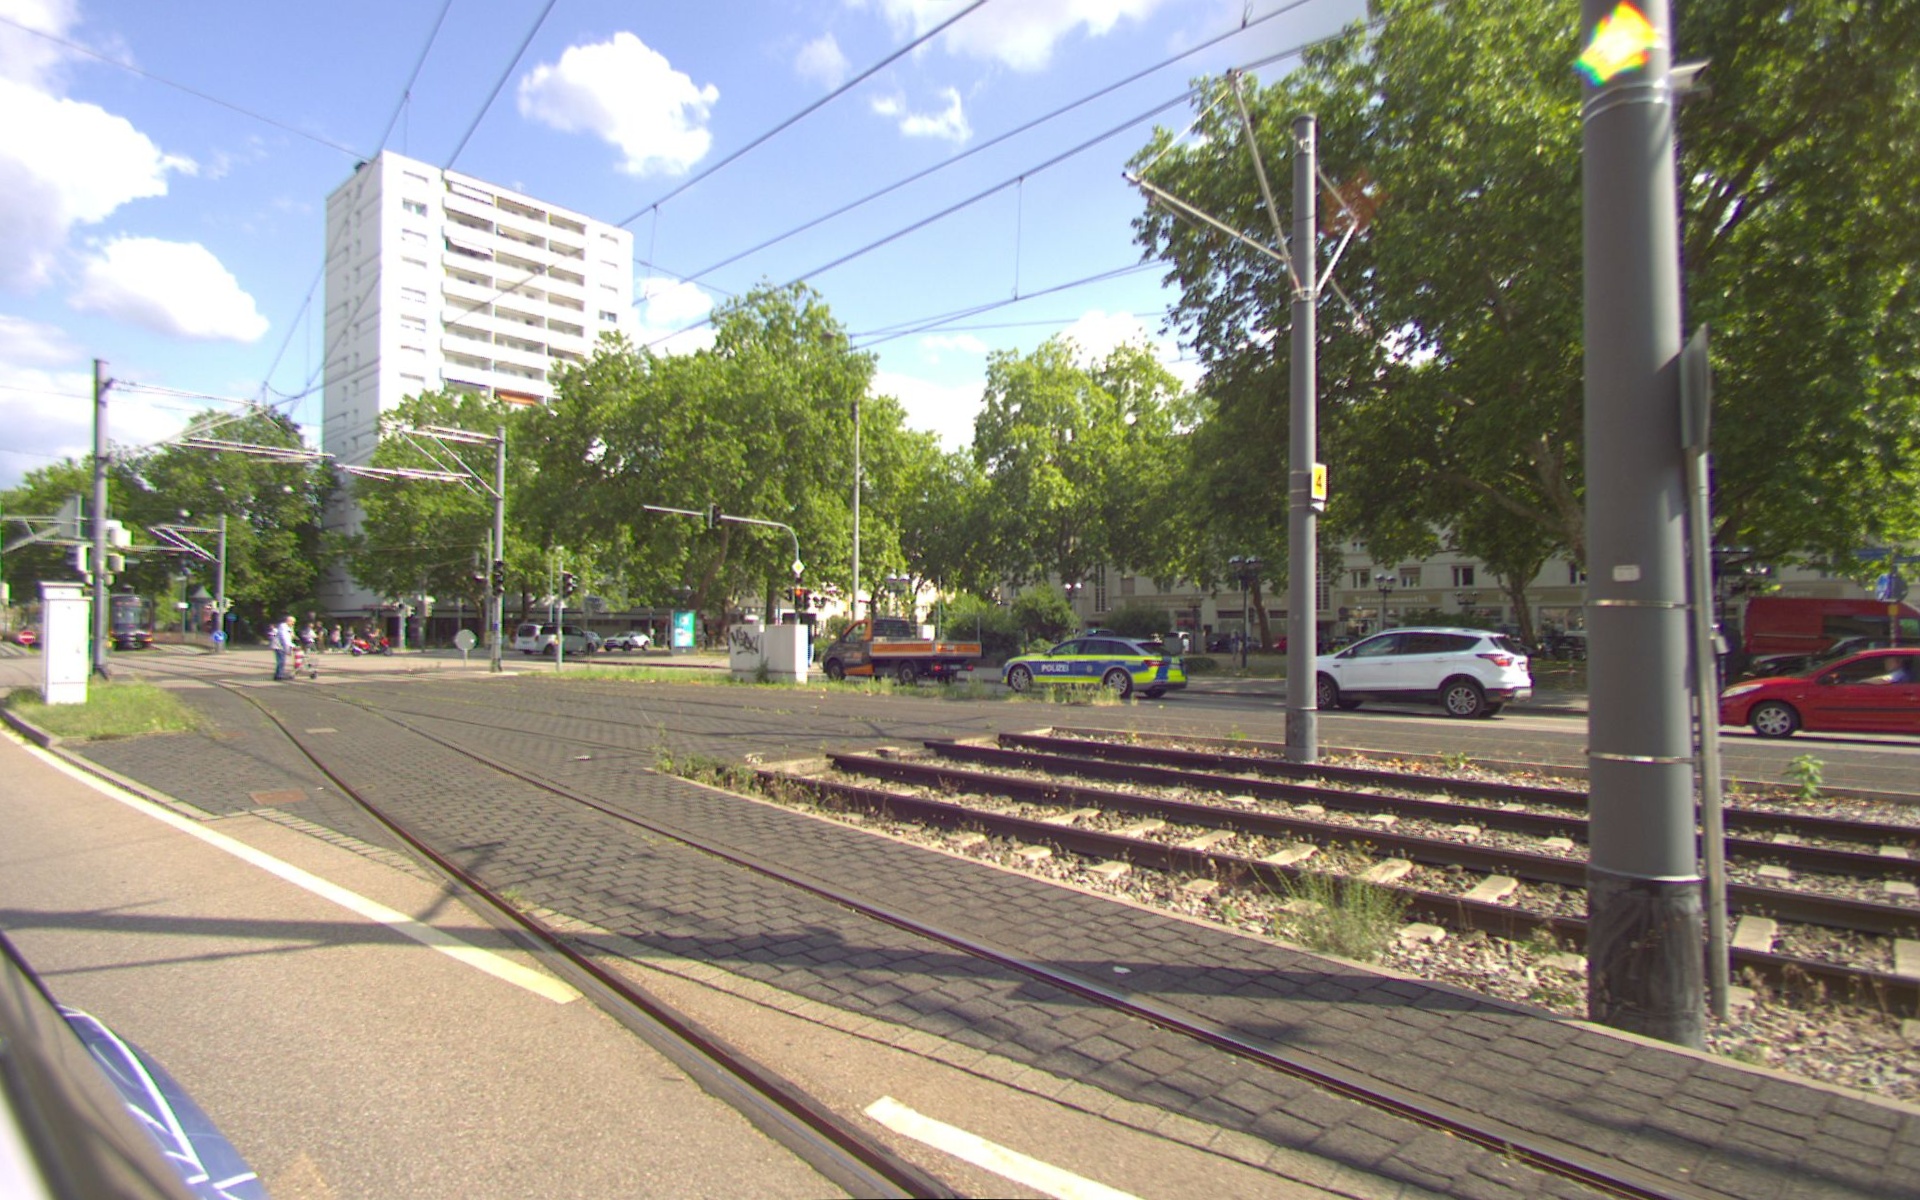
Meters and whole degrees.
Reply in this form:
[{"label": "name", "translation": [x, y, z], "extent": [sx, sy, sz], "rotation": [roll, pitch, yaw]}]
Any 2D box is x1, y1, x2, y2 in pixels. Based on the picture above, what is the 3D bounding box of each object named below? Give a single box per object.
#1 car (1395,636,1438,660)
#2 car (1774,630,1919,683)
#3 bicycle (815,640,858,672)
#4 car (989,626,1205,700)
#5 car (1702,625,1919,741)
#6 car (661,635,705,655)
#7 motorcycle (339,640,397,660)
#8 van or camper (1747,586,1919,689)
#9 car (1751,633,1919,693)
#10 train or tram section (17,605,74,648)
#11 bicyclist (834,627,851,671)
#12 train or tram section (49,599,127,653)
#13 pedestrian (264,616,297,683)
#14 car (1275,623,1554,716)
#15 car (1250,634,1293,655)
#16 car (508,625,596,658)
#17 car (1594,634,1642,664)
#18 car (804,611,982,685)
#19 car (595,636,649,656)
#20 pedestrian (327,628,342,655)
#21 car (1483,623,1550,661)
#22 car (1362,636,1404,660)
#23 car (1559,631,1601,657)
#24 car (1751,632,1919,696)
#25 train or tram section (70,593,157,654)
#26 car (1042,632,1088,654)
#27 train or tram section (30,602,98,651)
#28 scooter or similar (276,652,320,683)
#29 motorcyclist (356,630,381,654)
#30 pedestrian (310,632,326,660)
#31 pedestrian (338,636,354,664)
[{"label": "car", "translation": [32.977, 3.435, 73.049], "extent": [1.849, 1.672, 4.030], "rotation": [-1, -2, 38]}, {"label": "car", "translation": [28.278, 1.764, 31.910], "extent": [3.997, 1.616, 1.510], "rotation": [-2, -4, 41]}, {"label": "bicycle", "translation": [-4.795, 2.163, 39.191], "extent": [1.605, 1.121, 0.508], "rotation": [-2, -1, -9]}, {"label": "car", "translation": [3.284, 1.520, 25.057], "extent": [5.151, 1.665, 1.847], "rotation": [-2, -4, 42]}, {"label": "car", "translation": [13.680, 1.194, 14.999], "extent": [4.141, 1.619, 1.694], "rotation": [-4, -4, 41]}, {"label": "car", "translation": [-23.289, 3.798, 85.253], "extent": [1.677, 1.632, 3.975], "rotation": [-1, -2, 19]}, {"label": "motorcycle", "translation": [-30.143, 2.530, 51.554], "extent": [2.467, 0.984, 0.699], "rotation": [2, -2, -43]}, {"label": "van or camper", "translation": [24.966, 1.050, 27.595], "extent": [5.349, 2.661, 2.079], "rotation": [-2, -5, 43]}, {"label": "car", "translation": [22.746, 1.571, 25.783], "extent": [3.997, 1.421, 1.734], "rotation": [-2, -3, 41]}, {"label": "train or tram section", "translation": [-78.809, 2.333, 87.119], "extent": [8.905, 3.509, 2.737], "rotation": [-2, -3, 42]}, {"label": "bicyclist", "translation": [-4.576, 1.894, 39.232], "extent": [0.574, 1.681, 0.508], "rotation": [-2, -1, -10]}, {"label": "train or tram section", "translation": [-62.367, 1.875, 72.230], "extent": [11.178, 3.588, 2.776], "rotation": [-2, -2, 42]}, {"label": "pedestrian", "translation": [-17.978, 1.307, 26.779], "extent": [0.556, 1.746, 0.521], "rotation": [-2, -3, 36]}, {"label": "car", "translation": [8.848, 1.357, 19.983], "extent": [4.677, 1.619, 1.741], "rotation": [-4, -4, 41]}, {"label": "car", "translation": [24.967, 3.536, 81.075], "extent": [1.850, 1.672, 4.029], "rotation": [-1, -2, 40]}, {"label": "car", "translation": [-24.671, 2.502, 61.442], "extent": [1.986, 1.906, 5.135], "rotation": [0, -2, 21]}, {"label": "car", "translation": [36.138, 2.664, 55.550], "extent": [1.849, 1.545, 4.030], "rotation": [-1, -2, 38]}, {"label": "car", "translation": [-2.064, 1.441, 29.714], "extent": [5.333, 2.002, 2.053], "rotation": [-4, -4, 41]}, {"label": "car", "translation": [-25.925, 3.500, 77.742], "extent": [1.847, 1.501, 4.049], "rotation": [-1, -2, 20]}, {"label": "pedestrian", "translation": [-40.165, 2.684, 64.964], "extent": [0.648, 1.716, 0.662], "rotation": [-2, -3, 44]}, {"label": "car", "translation": [32.568, 2.478, 59.163], "extent": [3.872, 2.029, 2.258], "rotation": [5, -5, -41]}, {"label": "car", "translation": [31.383, 3.522, 75.009], "extent": [1.849, 1.672, 4.030], "rotation": [-1, -2, 38]}, {"label": "car", "translation": [40.868, 2.855, 66.684], "extent": [1.849, 1.672, 4.030], "rotation": [-1, -2, 38]}, {"label": "car", "translation": [21.089, 1.459, 23.654], "extent": [3.997, 1.421, 1.734], "rotation": [-2, -3, 41]}, {"label": "train or tram section", "translation": [-54.139, 1.550, 64.589], "extent": [11.375, 3.588, 2.765], "rotation": [-2, -2, 43]}, {"label": "car", "translation": [8.483, 3.431, 81.229], "extent": [1.849, 1.672, 4.031], "rotation": [-1, -2, 38]}, {"label": "train or tram section", "translation": [-71.018, 2.099, 80.095], "extent": [12.154, 3.588, 2.775], "rotation": [-1, -2, 43]}, {"label": "scooter or similar", "translation": [-17.726, 1.799, 27.096], "extent": [0.553, 0.810, 0.830], "rotation": [-2, -2, 37]}, {"label": "motorcyclist", "translation": [-30.144, 2.133, 51.571], "extent": [0.962, 1.227, 0.699], "rotation": [2, -2, -43]}, {"label": "pedestrian", "translation": [-38.765, 2.776, 61.078], "extent": [0.648, 1.716, 0.662], "rotation": [-2, -3, 44]}, {"label": "pedestrian", "translation": [-38.286, 3.126, 63.101], "extent": [0.648, 1.716, 0.662], "rotation": [-2, -3, 44]}]
